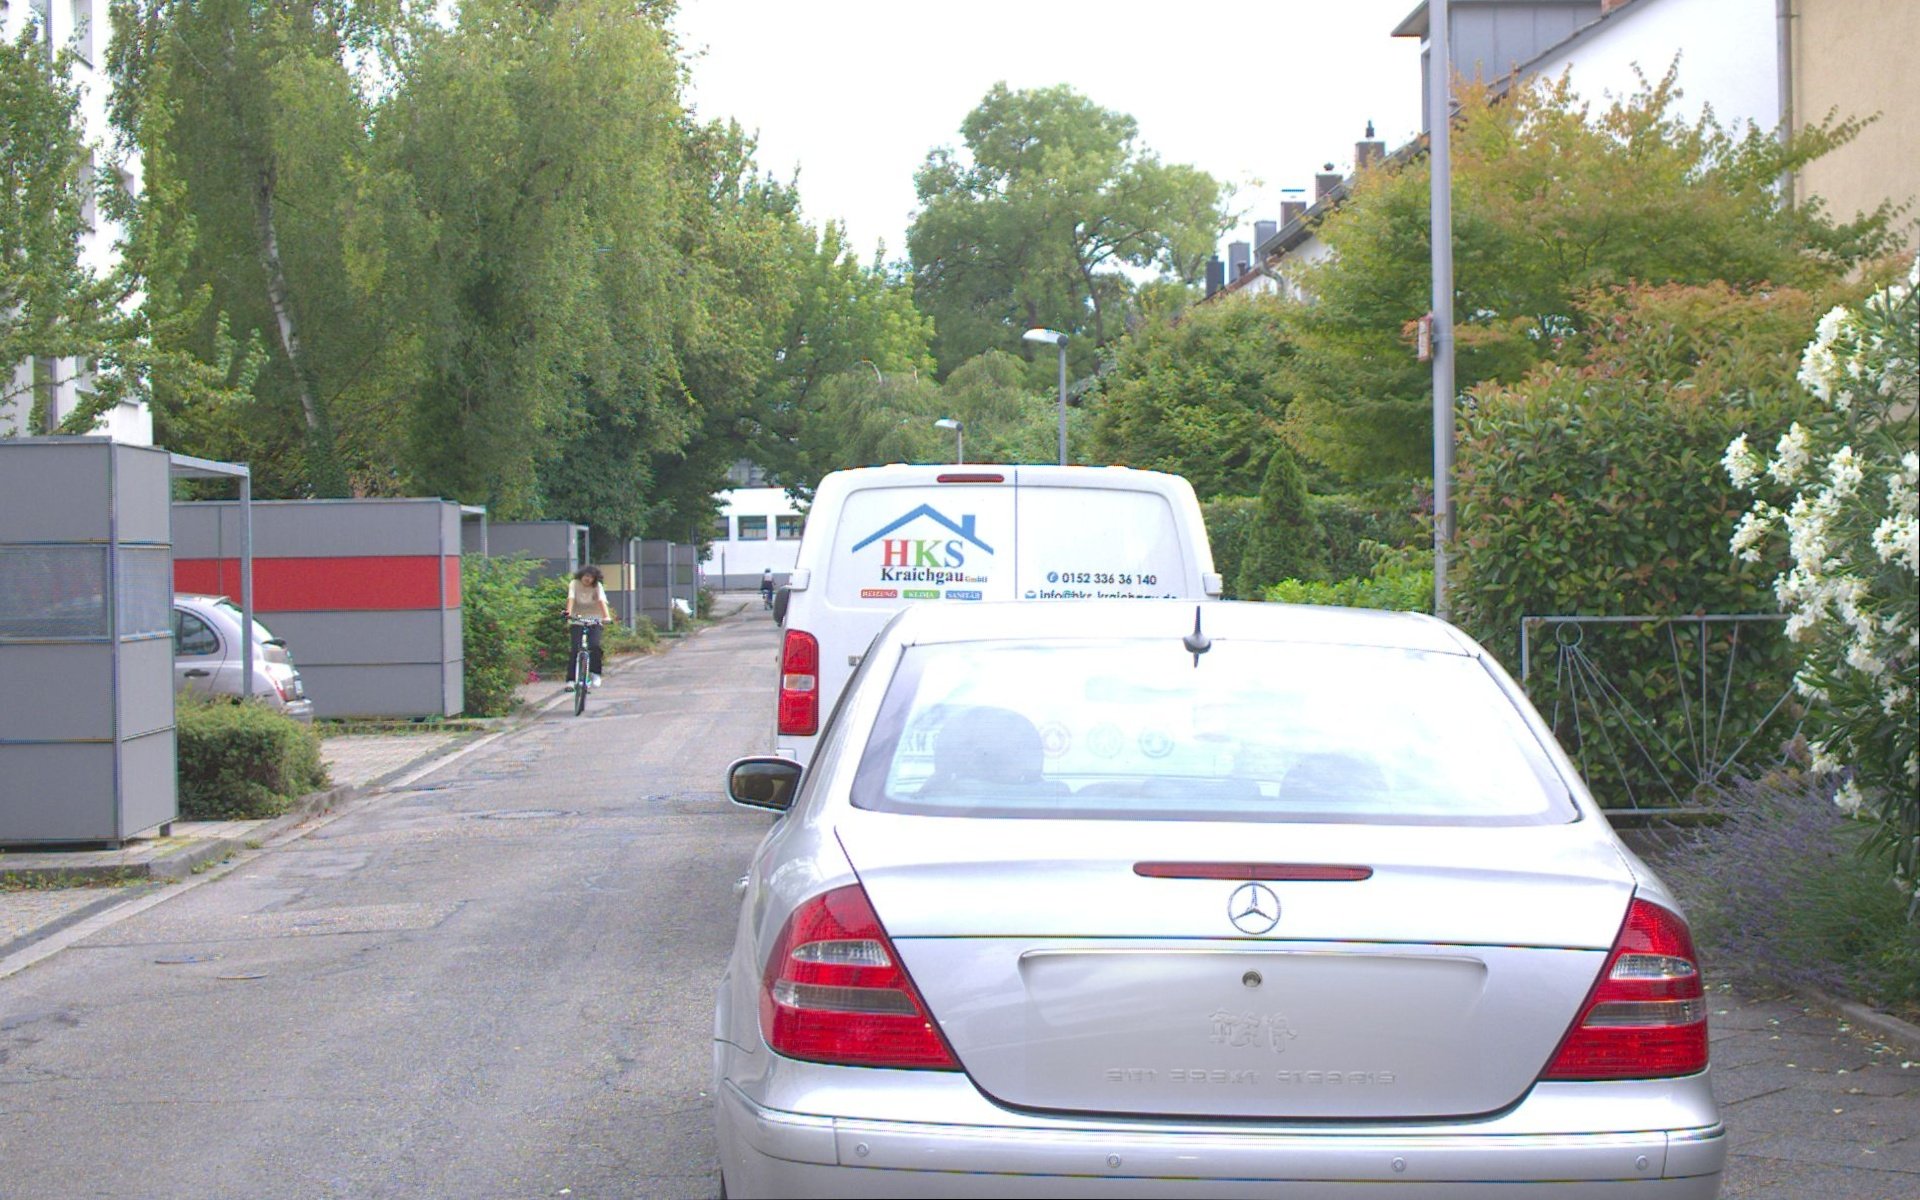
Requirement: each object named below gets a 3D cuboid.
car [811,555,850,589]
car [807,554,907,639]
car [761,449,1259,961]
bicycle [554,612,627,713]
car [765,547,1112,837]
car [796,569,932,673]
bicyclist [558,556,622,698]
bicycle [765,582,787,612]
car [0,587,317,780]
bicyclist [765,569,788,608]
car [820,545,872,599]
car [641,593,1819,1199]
[{"bbox_3d":[-6.204,-1.359,165.222,1.825,1.576,4.000,1,1,-2],"label":"car"},{"bbox_3d":[-2.067,-0.093,67.803,1.825,1.576,4.001,1,1,-3],"label":"car"},{"bbox_3d":[0.070,0.379,15.838,1.903,1.958,5.254,0,1,-3],"label":"car"},{"bbox_3d":[-4.191,0.696,39.118,0.597,1.072,2.042,-2,1,-1],"label":"bicycle"},{"bbox_3d":[-0.232,0.501,21.477,1.824,1.630,4.163,0,1,-5],"label":"car"},{"bbox_3d":[-1.370,0.260,48.953,1.825,1.365,4.331,1,1,-2],"label":"car"},{"bbox_3d":[-4.204,0.299,39.106,0.597,1.575,0.767,-2,0,-1],"label":"bicyclist"},{"bbox_3d":[-7.093,-0.127,132.412,0.689,1.127,2.579,1,0,0],"label":"bicycle"},{"bbox_3d":[-7.302,0.697,28.904,3.561,1.475,1.711,-2,1,-6],"label":"car"},{"bbox_3d":[-7.074,-0.442,132.367,0.798,1.506,0.934,1,0,0],"label":"bicyclist"},{"bbox_3d":[-4.112,-1.028,124.416,1.825,1.877,4.000,1,1,-2],"label":"car"},{"bbox_3d":[0.388,0.717,7.456,1.783,1.416,4.455,0,1,-1],"label":"car"}]
